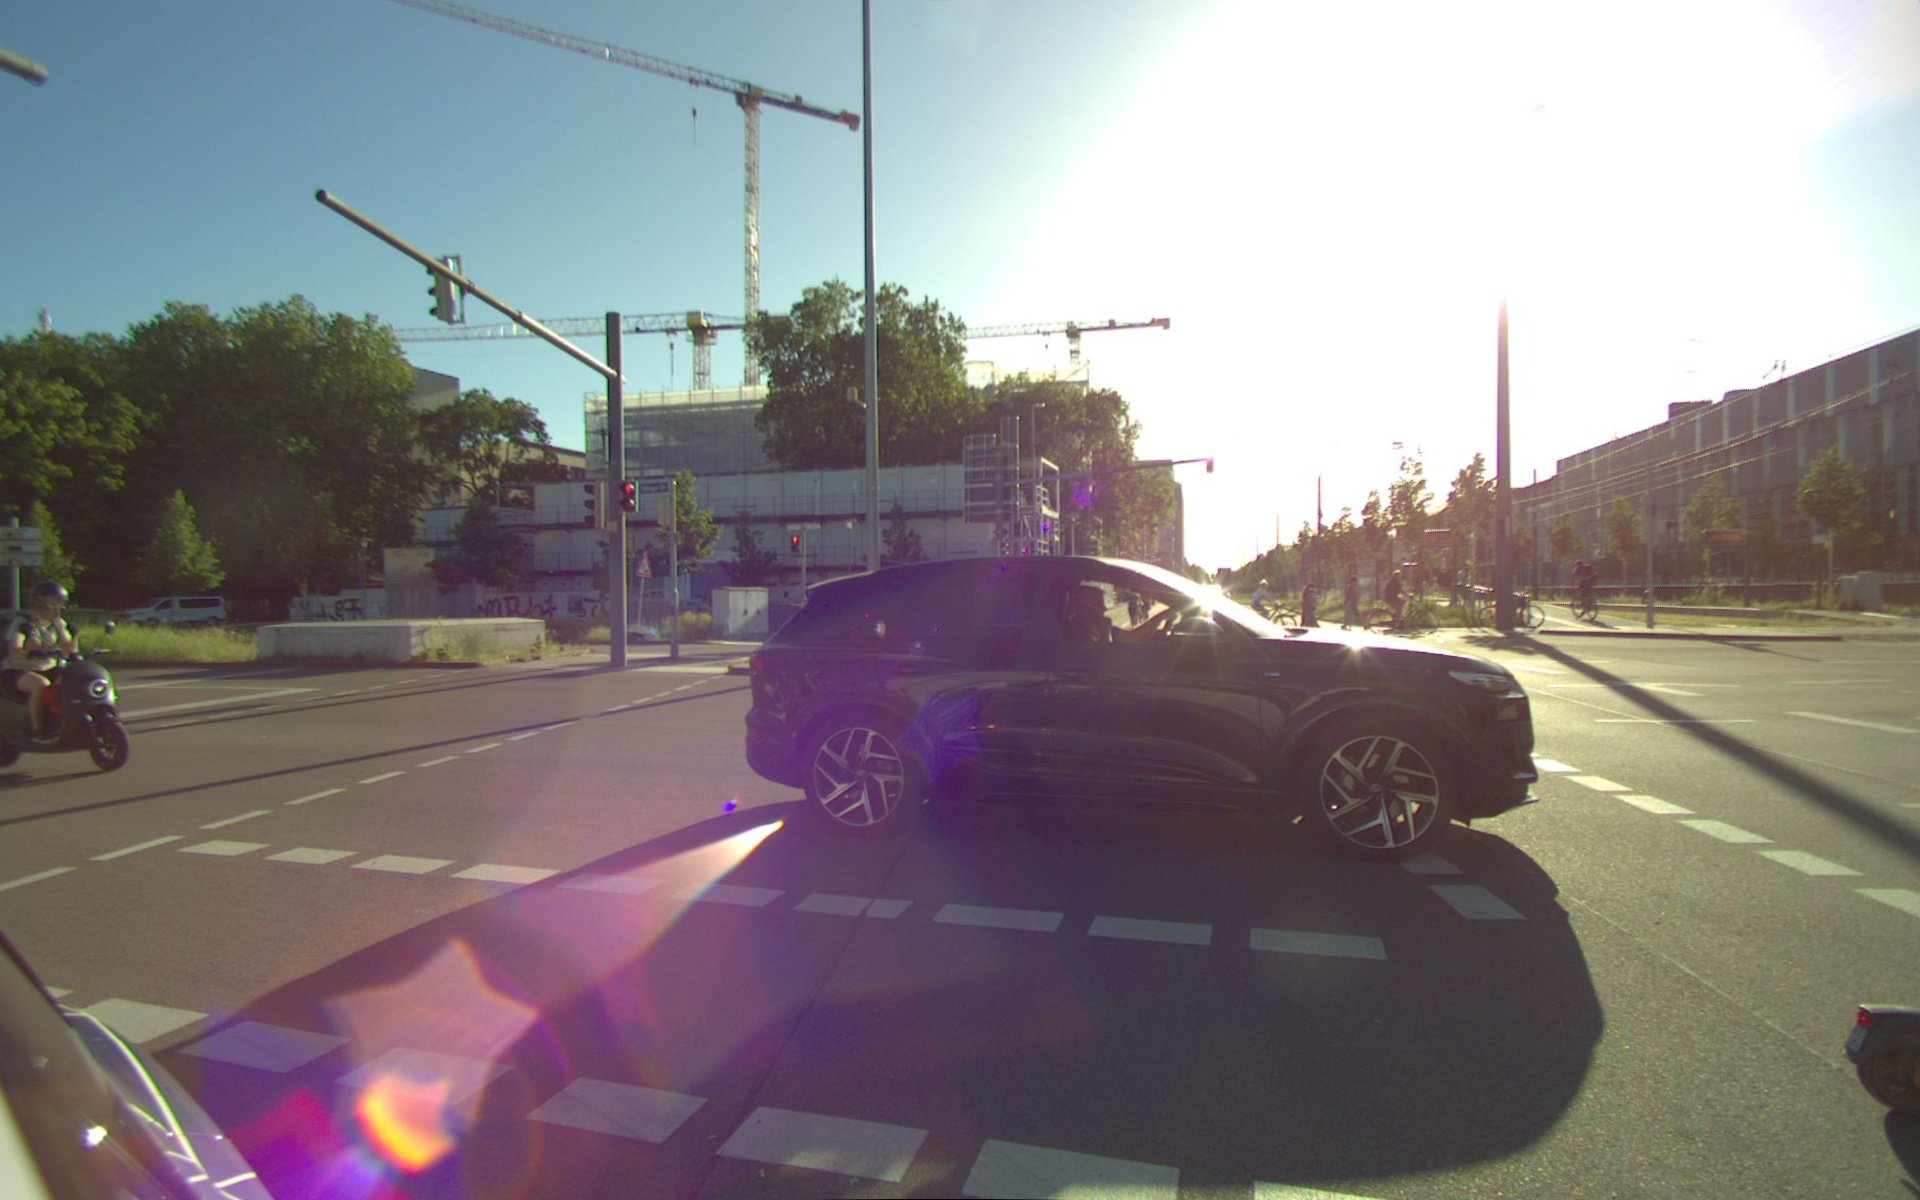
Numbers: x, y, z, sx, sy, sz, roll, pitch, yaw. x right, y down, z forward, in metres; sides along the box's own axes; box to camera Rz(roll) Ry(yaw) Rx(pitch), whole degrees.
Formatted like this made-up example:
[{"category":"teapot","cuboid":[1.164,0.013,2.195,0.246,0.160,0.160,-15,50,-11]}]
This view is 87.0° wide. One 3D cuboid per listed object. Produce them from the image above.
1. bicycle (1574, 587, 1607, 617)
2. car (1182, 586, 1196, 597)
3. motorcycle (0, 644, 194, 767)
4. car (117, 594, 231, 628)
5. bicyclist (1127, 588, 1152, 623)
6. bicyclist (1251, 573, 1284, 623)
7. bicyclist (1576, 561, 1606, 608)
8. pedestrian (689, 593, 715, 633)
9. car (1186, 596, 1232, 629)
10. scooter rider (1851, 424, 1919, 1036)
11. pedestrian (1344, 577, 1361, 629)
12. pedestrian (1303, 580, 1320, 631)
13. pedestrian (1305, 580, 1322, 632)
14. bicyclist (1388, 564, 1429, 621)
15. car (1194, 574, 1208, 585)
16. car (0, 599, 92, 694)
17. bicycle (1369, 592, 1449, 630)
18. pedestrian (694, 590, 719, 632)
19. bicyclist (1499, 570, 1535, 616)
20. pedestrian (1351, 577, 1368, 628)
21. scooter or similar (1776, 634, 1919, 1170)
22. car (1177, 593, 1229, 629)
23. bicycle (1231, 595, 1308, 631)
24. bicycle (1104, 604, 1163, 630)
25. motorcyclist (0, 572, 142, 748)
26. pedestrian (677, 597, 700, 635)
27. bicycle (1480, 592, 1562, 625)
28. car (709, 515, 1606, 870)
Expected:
[{"category":"bicycle","cuboid":[20.552,0.052,32.972,0.755,0.948,2.365,-1,0,36]},{"category":"car","cuboid":[30.668,-1.171,135.649,1.768,1.335,3.984,0,2,13]},{"category":"motorcycle","cuboid":[-7.982,0.912,9.028,1.940,0.976,0.754,-1,1,13]},{"category":"car","cuboid":[-48.419,0.656,62.478,1.987,1.906,5.291,-2,0,22]},{"category":"bicyclist","cuboid":[6.811,0.199,38.446,0.636,1.280,0.796,-2,0,35]},{"category":"bicyclist","cuboid":[8.904,-0.066,29.280,0.837,1.412,0.800,-2,0,21]},{"category":"bicyclist","cuboid":[20.600,-0.497,33.045,0.755,1.516,0.610,-1,0,36]},{"category":"pedestrian","cuboid":[-10.474,0.535,41.042,0.649,1.601,0.835,-1,0,19]},{"category":"car","cuboid":[11.583,0.559,47.042,1.981,1.386,3.981,-2,0,14]},{"category":"scooter rider","cuboid":[2.959,0.328,2.388,1.107,1.555,0.641,-1,1,17]},{"category":"pedestrian","cuboid":[12.034,0.094,31.041,0.447,1.578,0.516,-1,0,19]},{"category":"pedestrian","cuboid":[11.000,0.181,31.669,0.447,1.578,0.516,-1,0,19]},{"category":"pedestrian","cuboid":[10.822,0.176,31.005,0.447,1.578,0.516,-1,0,19]},{"category":"bicyclist","cuboid":[12.382,-0.200,27.972,0.934,1.556,0.645,-1,0,19]},{"category":"car","cuboid":[33.783,-2.886,141.863,1.768,1.335,3.985,-1,2,12]},{"category":"car","cuboid":[-16.062,0.703,15.867,4.492,1.362,1.765,0,1,21]},{"category":"bicycle","cuboid":[12.385,0.311,27.967,1.963,1.004,0.645,-1,0,19]},{"category":"pedestrian","cuboid":[-10.530,0.453,42.124,0.649,1.693,0.835,-1,0,19]},{"category":"bicyclist","cuboid":[16.817,-0.210,30.566,0.836,1.367,0.799,-2,0,23]},{"category":"pedestrian","cuboid":[12.544,0.081,31.818,0.447,1.578,0.516,-1,0,19]},{"category":"scooter or similar","cuboid":[2.966,0.691,2.389,1.470,1.184,0.641,-1,1,17]},{"category":"car","cuboid":[10.220,0.436,42.516,1.981,1.386,3.981,-2,0,14]},{"category":"bicycle","cuboid":[8.949,0.381,29.254,2.063,0.986,0.800,-2,0,22]},{"category":"bicycle","cuboid":[6.606,0.650,38.589,2.073,0.934,0.796,-1,0,36]},{"category":"motorcyclist","cuboid":[-8.044,0.507,9.035,0.873,1.495,0.754,-1,1,12]},{"category":"pedestrian","cuboid":[-10.795,0.635,40.311,0.649,1.464,0.600,-1,0,19]},{"category":"bicycle","cuboid":[16.889,0.245,30.537,2.064,0.934,0.799,-2,0,24]},{"category":"car","cuboid":[1.054,0.453,6.508,4.750,1.674,2.190,-1,0,16]}]
